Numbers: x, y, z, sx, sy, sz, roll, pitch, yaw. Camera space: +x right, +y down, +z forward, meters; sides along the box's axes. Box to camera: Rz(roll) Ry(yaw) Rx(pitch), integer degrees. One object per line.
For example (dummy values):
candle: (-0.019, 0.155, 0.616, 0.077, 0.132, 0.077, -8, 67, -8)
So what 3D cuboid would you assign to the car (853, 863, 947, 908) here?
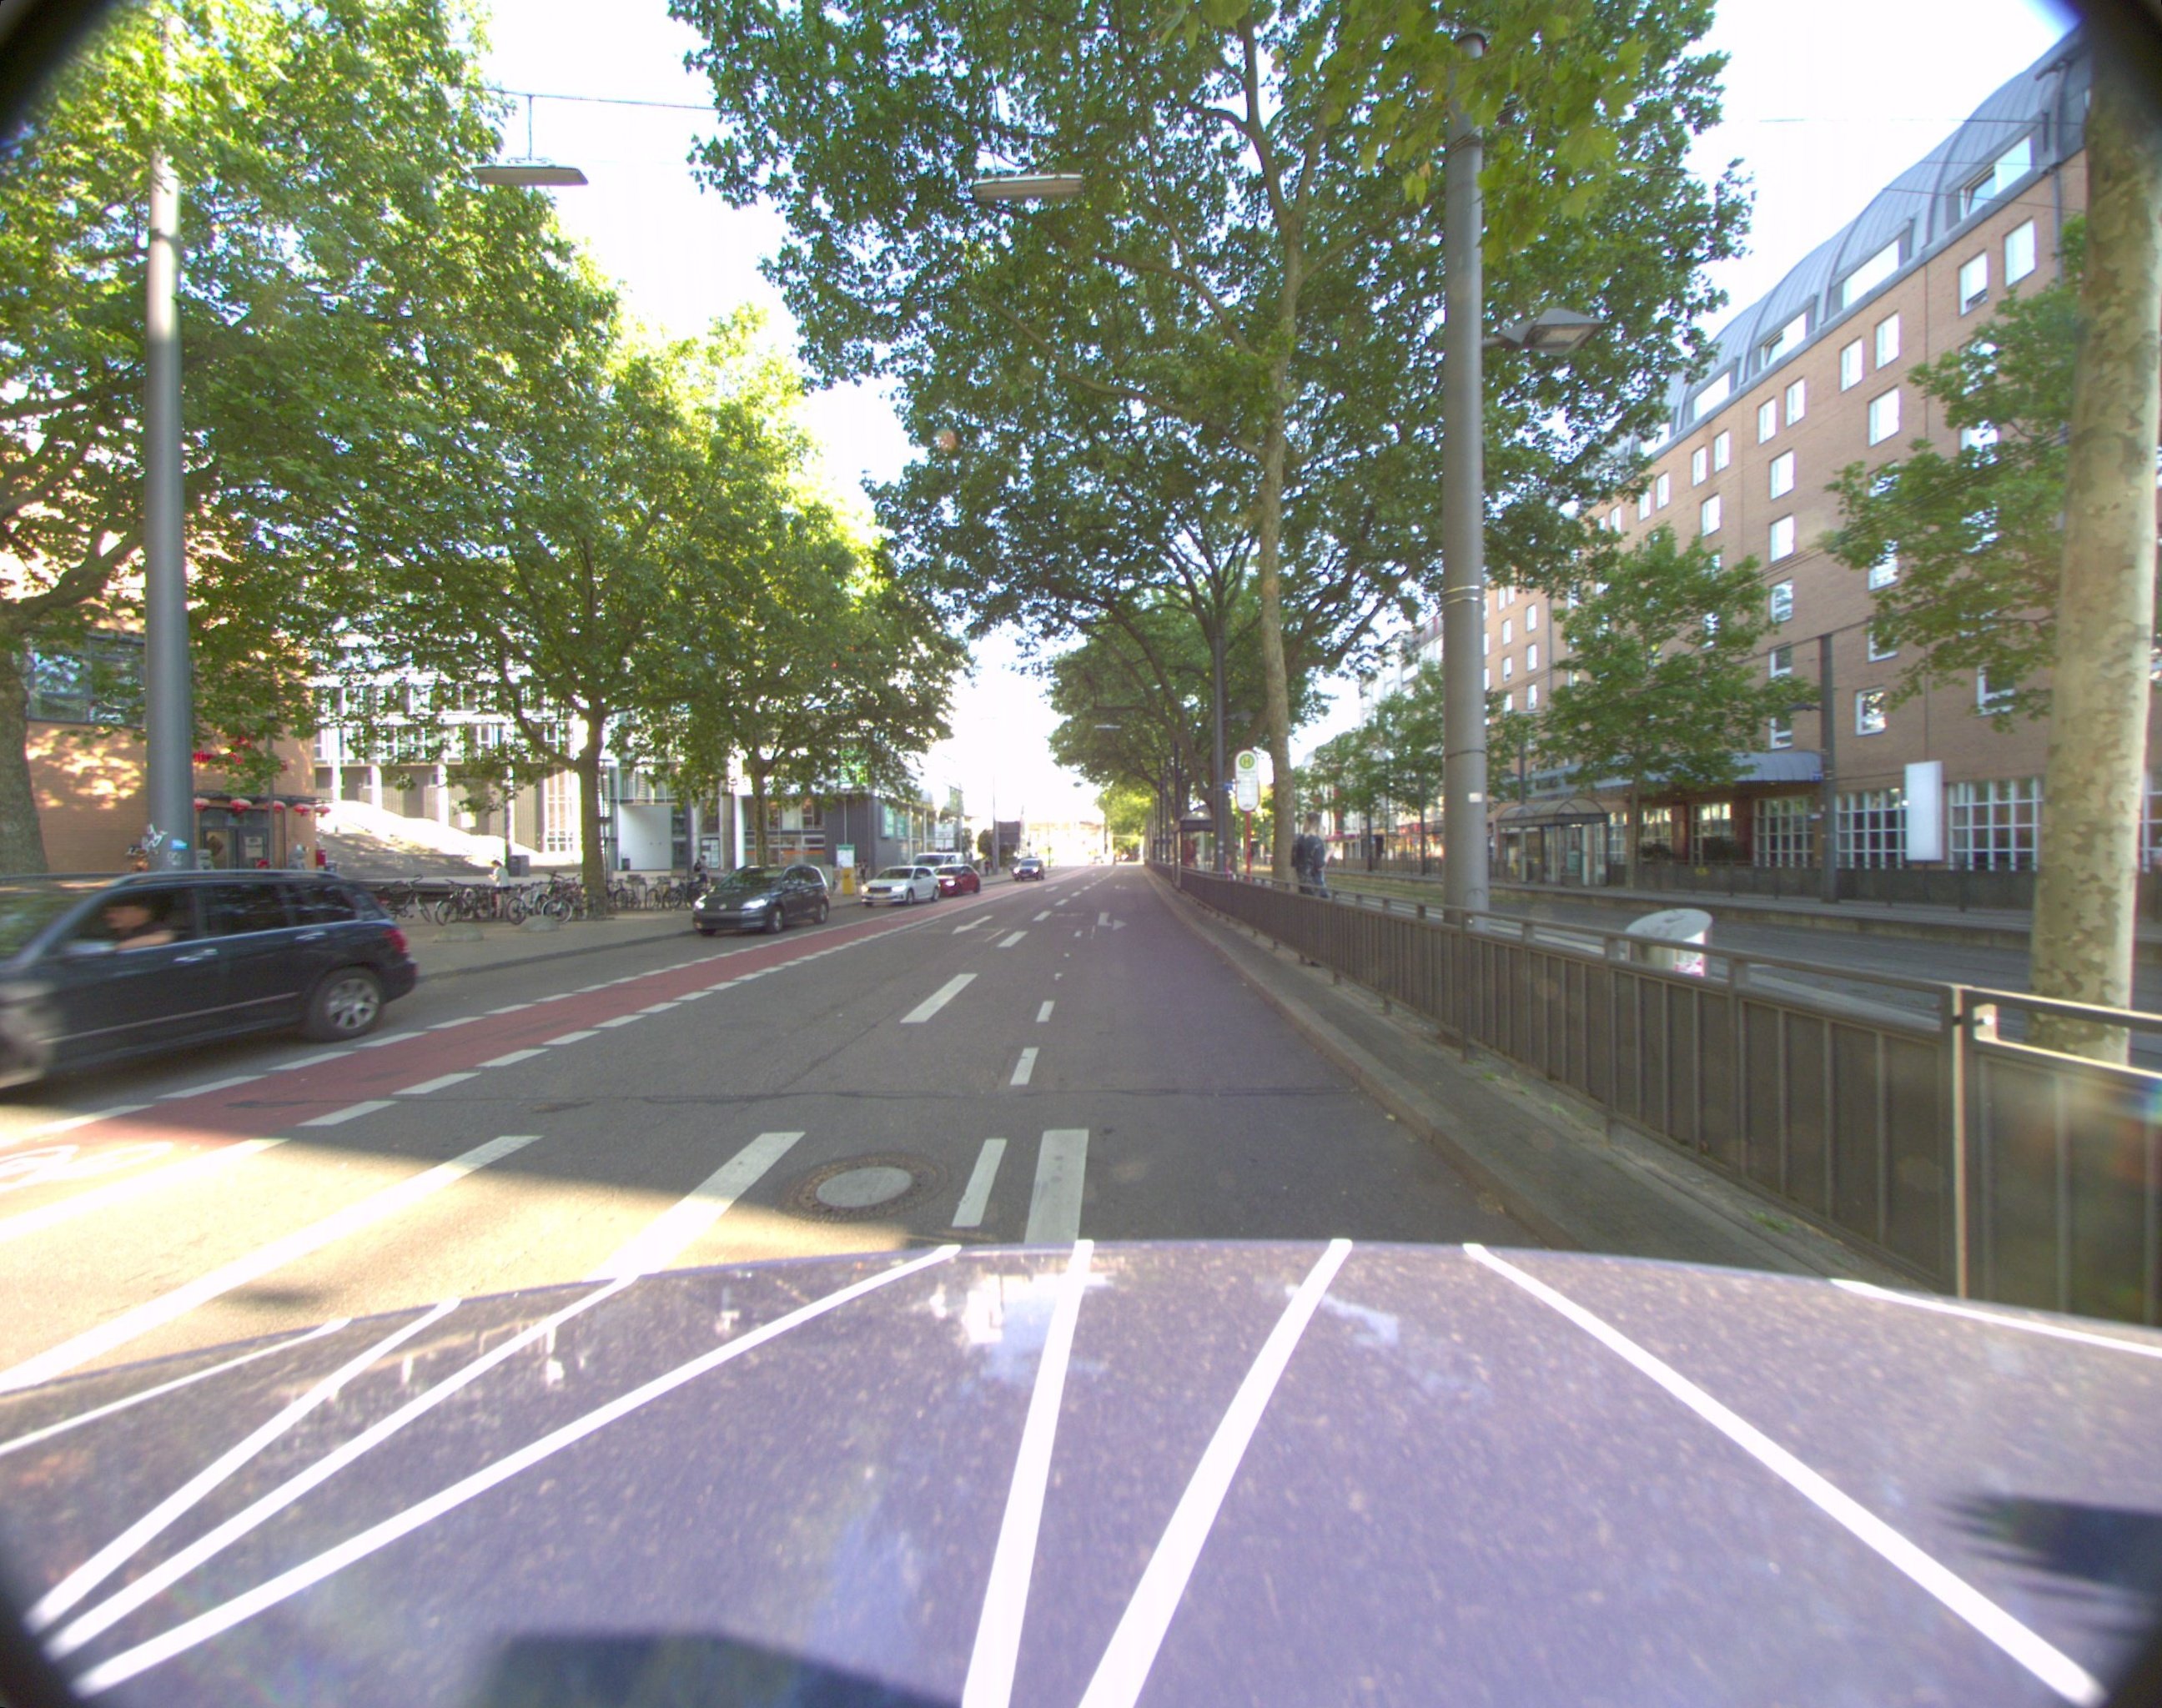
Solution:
car: (-6.751, 1.148, 28.859, 1.834, 1.481, 4.199, -2, 0, 11)

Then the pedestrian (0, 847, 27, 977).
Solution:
pedestrian: (-17.079, 0.895, 11.460, 0.934, 2.002, 1.091, -1, 1, -25)

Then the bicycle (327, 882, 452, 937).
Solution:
bicycle: (-17.842, 1.389, 19.714, 0.699, 1.193, 2.700, -2, 1, 1)

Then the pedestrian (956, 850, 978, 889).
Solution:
pedestrian: (-6.012, 0.829, 40.004, 0.815, 2.002, 0.979, -2, 0, 10)

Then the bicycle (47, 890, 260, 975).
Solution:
bicycle: (-15.591, 1.275, 12.900, 0.657, 1.155, 2.293, -2, 1, 3)

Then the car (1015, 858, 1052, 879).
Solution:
car: (-3.611, 1.089, 58.457, 1.784, 1.481, 4.198, -3, 0, 10)

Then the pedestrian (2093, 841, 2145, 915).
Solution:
pedestrian: (24.673, 0.555, 18.069, 0.479, 1.725, 0.545, 0, 1, 8)

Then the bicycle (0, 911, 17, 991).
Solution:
bicycle: (-13.401, 1.190, 7.887, 0.925, 0.943, 2.637, -2, 1, 1)

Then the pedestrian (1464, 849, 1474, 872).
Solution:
pedestrian: (29.747, 0.506, 58.244, 0.504, 1.725, 0.574, -1, 1, 3)

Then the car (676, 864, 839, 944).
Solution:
car: (-7.665, 1.107, 18.538, 1.709, 1.626, 4.392, -2, 0, 5)

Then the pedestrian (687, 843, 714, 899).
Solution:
pedestrian: (-18.488, 0.804, 36.921, 0.981, 2.633, 0.900, -3, 1, -31)

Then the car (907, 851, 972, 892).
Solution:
car: (-7.382, 0.869, 40.209, 1.933, 1.953, 5.919, -2, 0, 4)

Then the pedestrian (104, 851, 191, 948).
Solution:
pedestrian: (-22.864, 1.079, 18.619, 1.048, 2.235, 1.221, -1, 1, 38)

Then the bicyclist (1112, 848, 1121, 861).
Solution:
bicyclist: (5.510, 0.047, 118.911, 0.957, 2.002, 0.940, -1, 1, 34)

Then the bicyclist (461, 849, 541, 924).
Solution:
bicyclist: (-16.031, 0.869, 21.022, 1.296, 2.002, 1.158, -1, 1, 17)

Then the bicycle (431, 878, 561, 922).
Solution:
bicycle: (-16.234, 1.243, 21.094, 3.328, 1.077, 1.150, 0, 1, 18)

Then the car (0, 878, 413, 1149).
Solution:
car: (-7.797, 1.093, 5.690, 1.769, 1.626, 4.250, -2, 0, 0)

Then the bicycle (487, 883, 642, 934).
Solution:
bicycle: (-13.109, 1.345, 19.478, 0.975, 1.020, 3.208, -2, 1, 23)

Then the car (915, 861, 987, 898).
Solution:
car: (-5.911, 1.142, 35.047, 1.834, 1.481, 4.198, -3, 0, 11)

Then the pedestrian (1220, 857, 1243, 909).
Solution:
pedestrian: (3.898, 0.737, 19.674, 0.542, 1.310, 0.524, -2, 1, 12)

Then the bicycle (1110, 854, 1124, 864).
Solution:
bicycle: (5.619, 0.769, 118.982, 0.948, 1.460, 2.711, 0, 0, 34)

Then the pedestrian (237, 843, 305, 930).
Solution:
pedestrian: (-21.386, 0.851, 20.070, 0.842, 2.220, 0.905, -2, 1, 22)

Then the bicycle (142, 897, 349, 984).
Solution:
bicycle: (-14.045, 1.408, 12.918, 0.751, 1.155, 2.398, -2, 1, 2)

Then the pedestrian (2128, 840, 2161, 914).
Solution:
pedestrian: (25.330, 0.526, 17.945, 0.443, 1.725, 0.545, 0, 1, 8)

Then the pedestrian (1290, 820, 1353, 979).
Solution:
pedestrian: (2.852, 0.526, 9.057, 0.543, 1.823, 0.524, -2, 1, 3)
